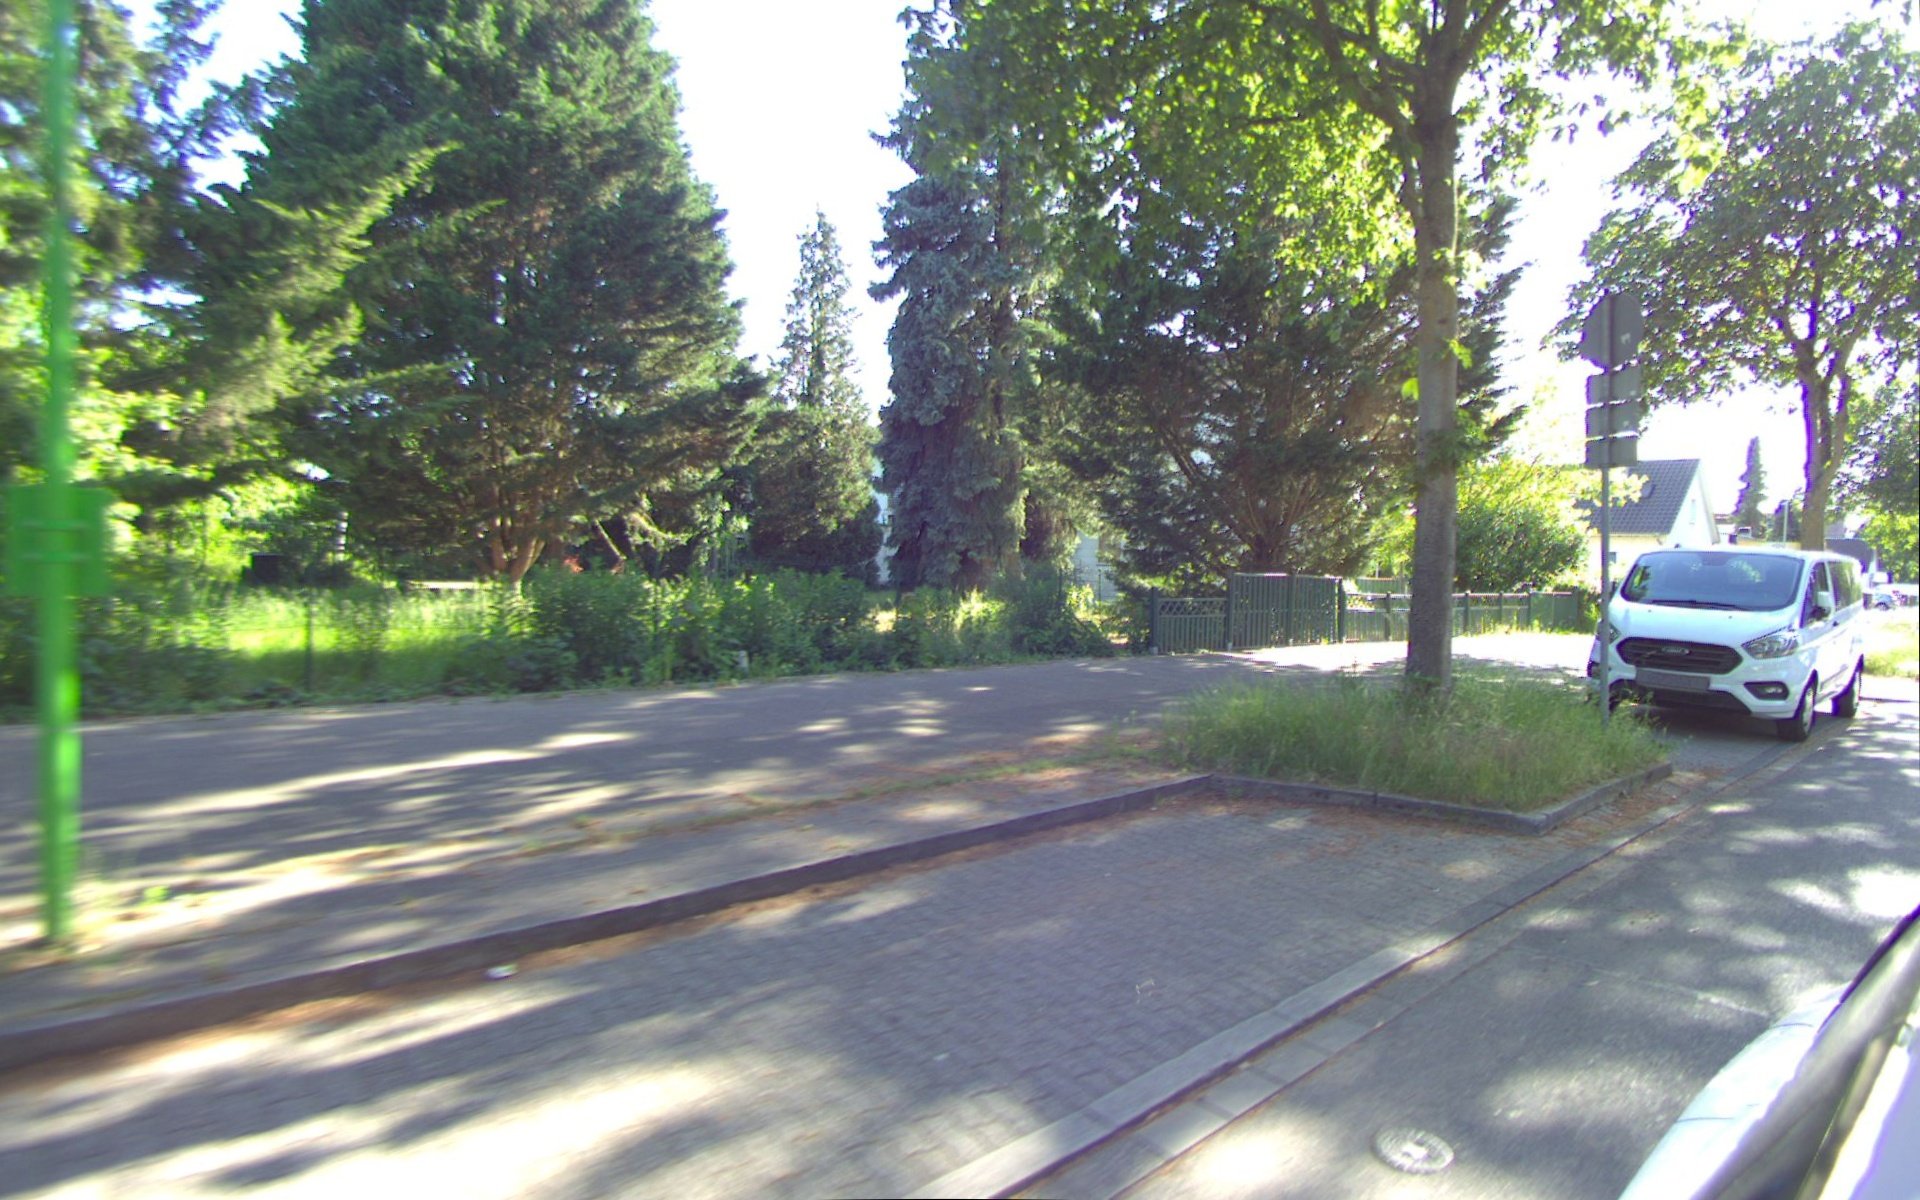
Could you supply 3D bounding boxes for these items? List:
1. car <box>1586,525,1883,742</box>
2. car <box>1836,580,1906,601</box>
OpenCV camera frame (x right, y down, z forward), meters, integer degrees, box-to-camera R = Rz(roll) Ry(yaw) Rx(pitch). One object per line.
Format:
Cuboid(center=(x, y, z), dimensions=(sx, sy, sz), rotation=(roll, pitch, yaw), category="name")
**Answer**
Cuboid(center=(9.321, 0.273, 11.981), dimensions=(5.110, 2.039, 1.995), rotation=(-1, 0, -43), category="car")
Cuboid(center=(64.236, -0.656, 71.386), dimensions=(1.668, 1.457, 3.613), rotation=(-1, 0, -44), category="car")
